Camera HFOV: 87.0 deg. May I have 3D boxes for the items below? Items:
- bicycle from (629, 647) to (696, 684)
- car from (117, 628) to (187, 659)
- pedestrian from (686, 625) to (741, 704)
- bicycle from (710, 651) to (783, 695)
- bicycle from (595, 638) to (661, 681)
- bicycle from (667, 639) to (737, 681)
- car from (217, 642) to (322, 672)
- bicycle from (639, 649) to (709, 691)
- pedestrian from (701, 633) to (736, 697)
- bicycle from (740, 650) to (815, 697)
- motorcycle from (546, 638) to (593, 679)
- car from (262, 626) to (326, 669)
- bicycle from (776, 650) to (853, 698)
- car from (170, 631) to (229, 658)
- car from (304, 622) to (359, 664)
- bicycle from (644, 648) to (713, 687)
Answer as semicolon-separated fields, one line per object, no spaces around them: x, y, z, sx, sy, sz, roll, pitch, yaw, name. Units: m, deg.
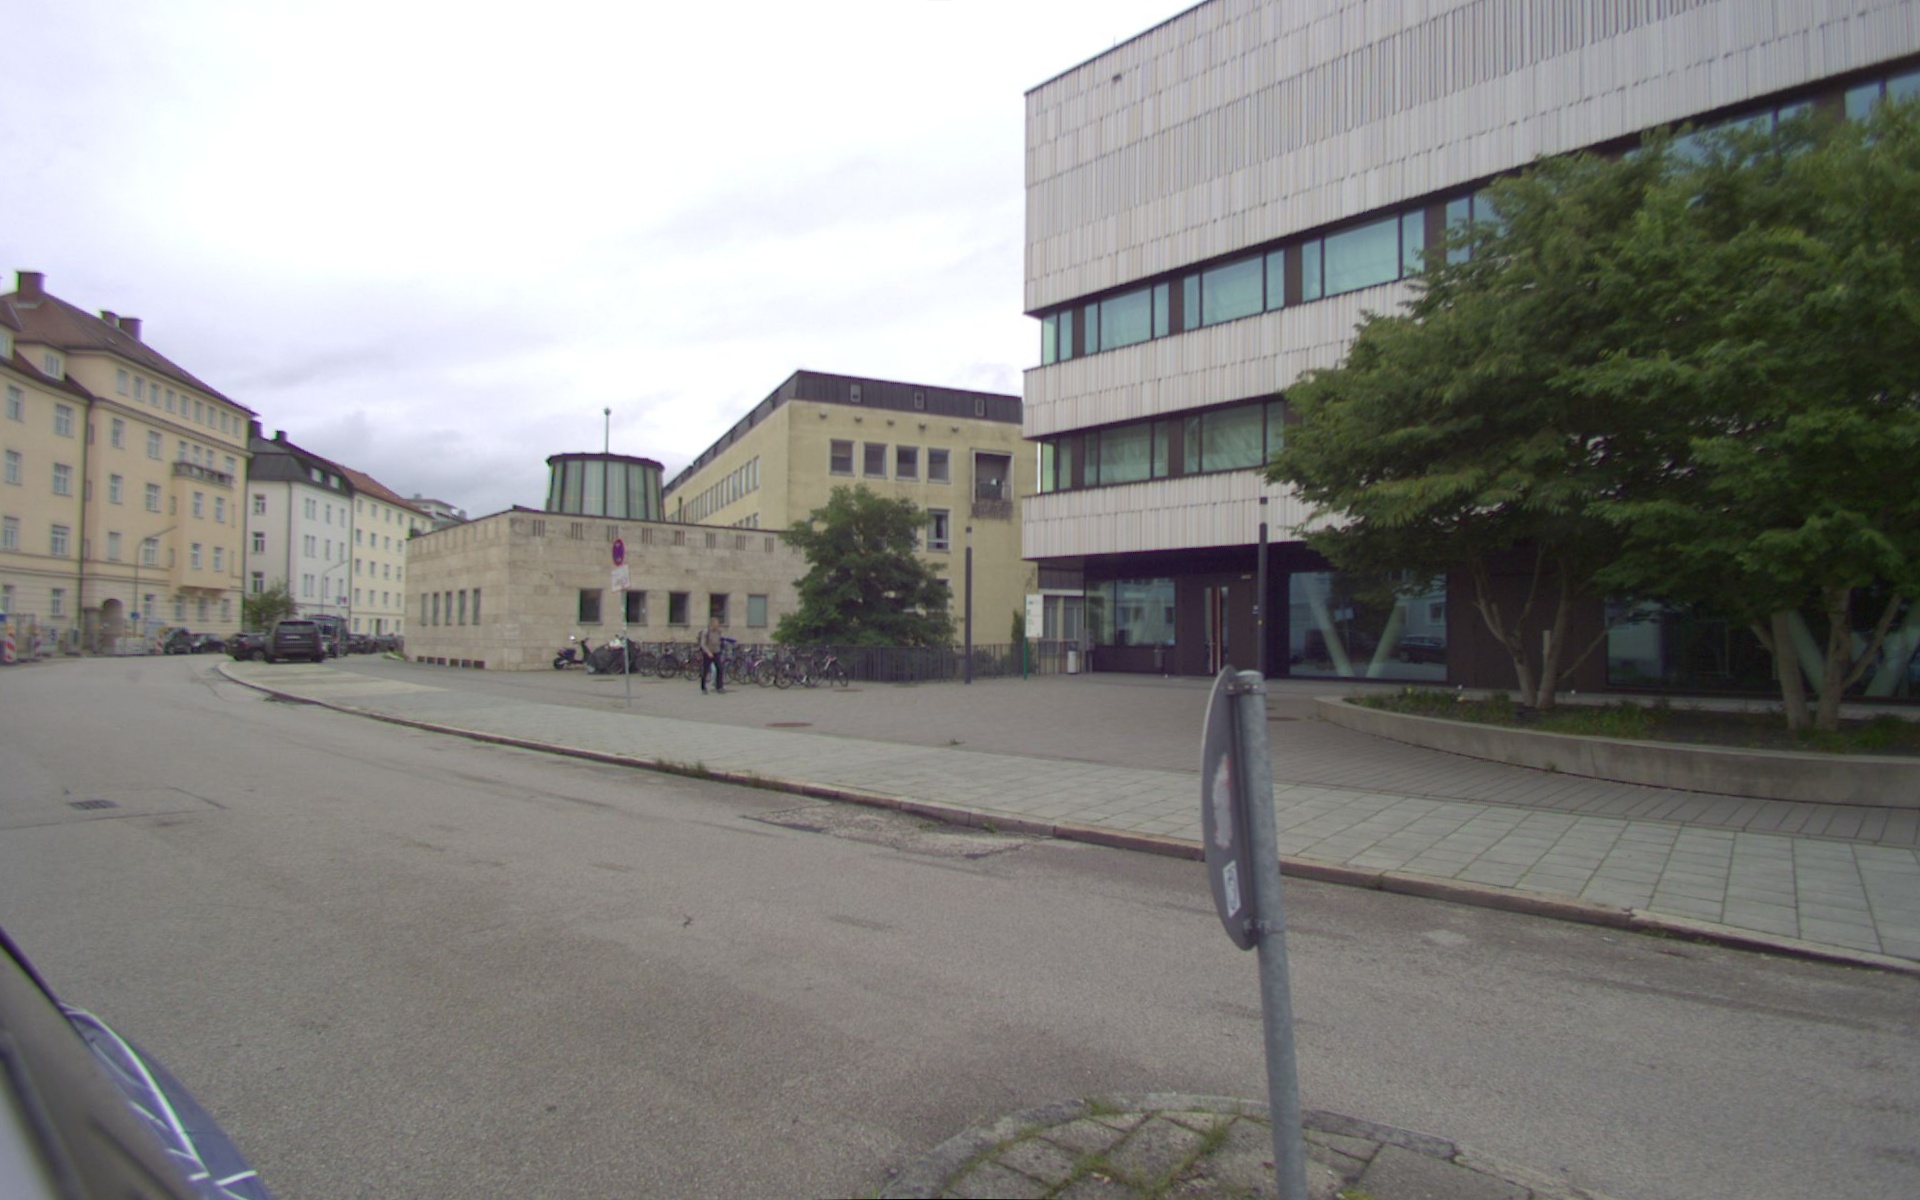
-9.702;2.116;33.066;0.617;1.119;2.022;-3;-2;45;bicycle
-51.191;2.729;64.203;1.812;1.812;4.249;-1;-2;-13;car
-5.852;1.510;24.039;1.012;1.796;0.780;-1;-1;34;pedestrian
-5.950;2.026;28.332;0.616;1.119;2.024;-3;-2;41;bicycle
-11.149;1.994;34.043;0.614;1.362;2.074;-3;-2;44;bicycle
-7.453;1.715;29.337;0.616;1.119;2.026;-3;-2;37;bicycle
-34.781;2.897;51.104;1.740;1.384;3.971;1;-3;26;car
-8.437;2.053;29.895;0.616;1.119;2.026;-3;-2;37;bicycle
-6.243;1.677;26.165;0.601;1.613;0.640;-2;-2;20;pedestrian
-4.867;1.945;27.048;0.616;1.119;2.024;-3;-2;41;bicycle
-14.347;2.141;37.214;1.546;1.416;0.515;0;-2;-44;motorcycle
-29.069;2.072;44.114;1.967;1.785;4.825;2;-3;-37;car
-3.742;1.887;26.146;0.616;1.119;2.024;-3;-2;41;bicycle
-52.132;3.060;69.479;1.812;1.743;3.738;-1;-2;-11;car
-40.889;2.791;65.986;2.113;2.594;6.231;3;-3;-24;car
-8.836;2.117;31.858;2.020;1.119;0.617;0;-2;-42;bicycle
